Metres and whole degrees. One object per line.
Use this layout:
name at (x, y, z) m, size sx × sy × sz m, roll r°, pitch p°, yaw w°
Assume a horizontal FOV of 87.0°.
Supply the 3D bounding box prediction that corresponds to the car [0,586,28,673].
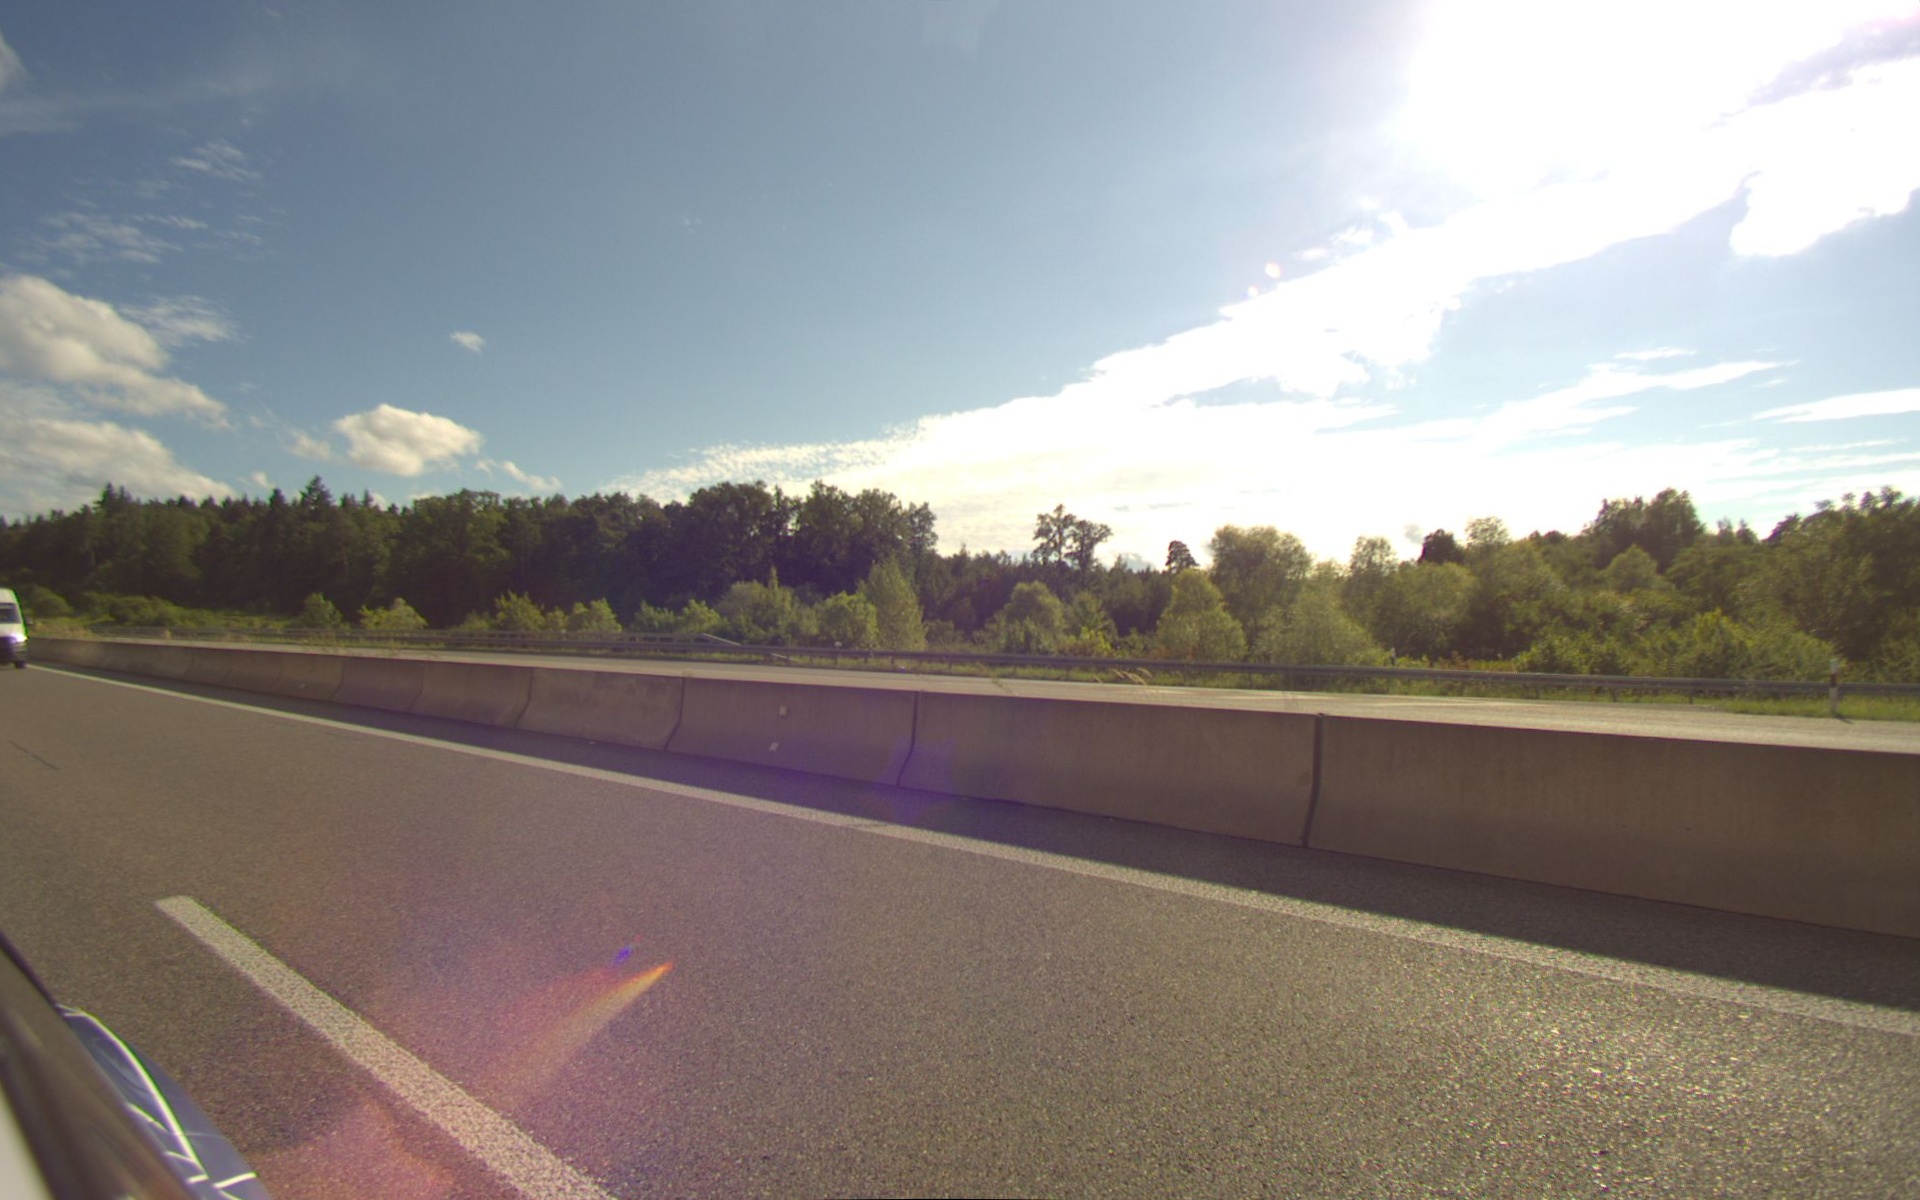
car at (-31.486, 0.912, 32.340) m, size 6.181 × 2.619 × 1.993 m, roll -1°, pitch -2°, yaw 43°
